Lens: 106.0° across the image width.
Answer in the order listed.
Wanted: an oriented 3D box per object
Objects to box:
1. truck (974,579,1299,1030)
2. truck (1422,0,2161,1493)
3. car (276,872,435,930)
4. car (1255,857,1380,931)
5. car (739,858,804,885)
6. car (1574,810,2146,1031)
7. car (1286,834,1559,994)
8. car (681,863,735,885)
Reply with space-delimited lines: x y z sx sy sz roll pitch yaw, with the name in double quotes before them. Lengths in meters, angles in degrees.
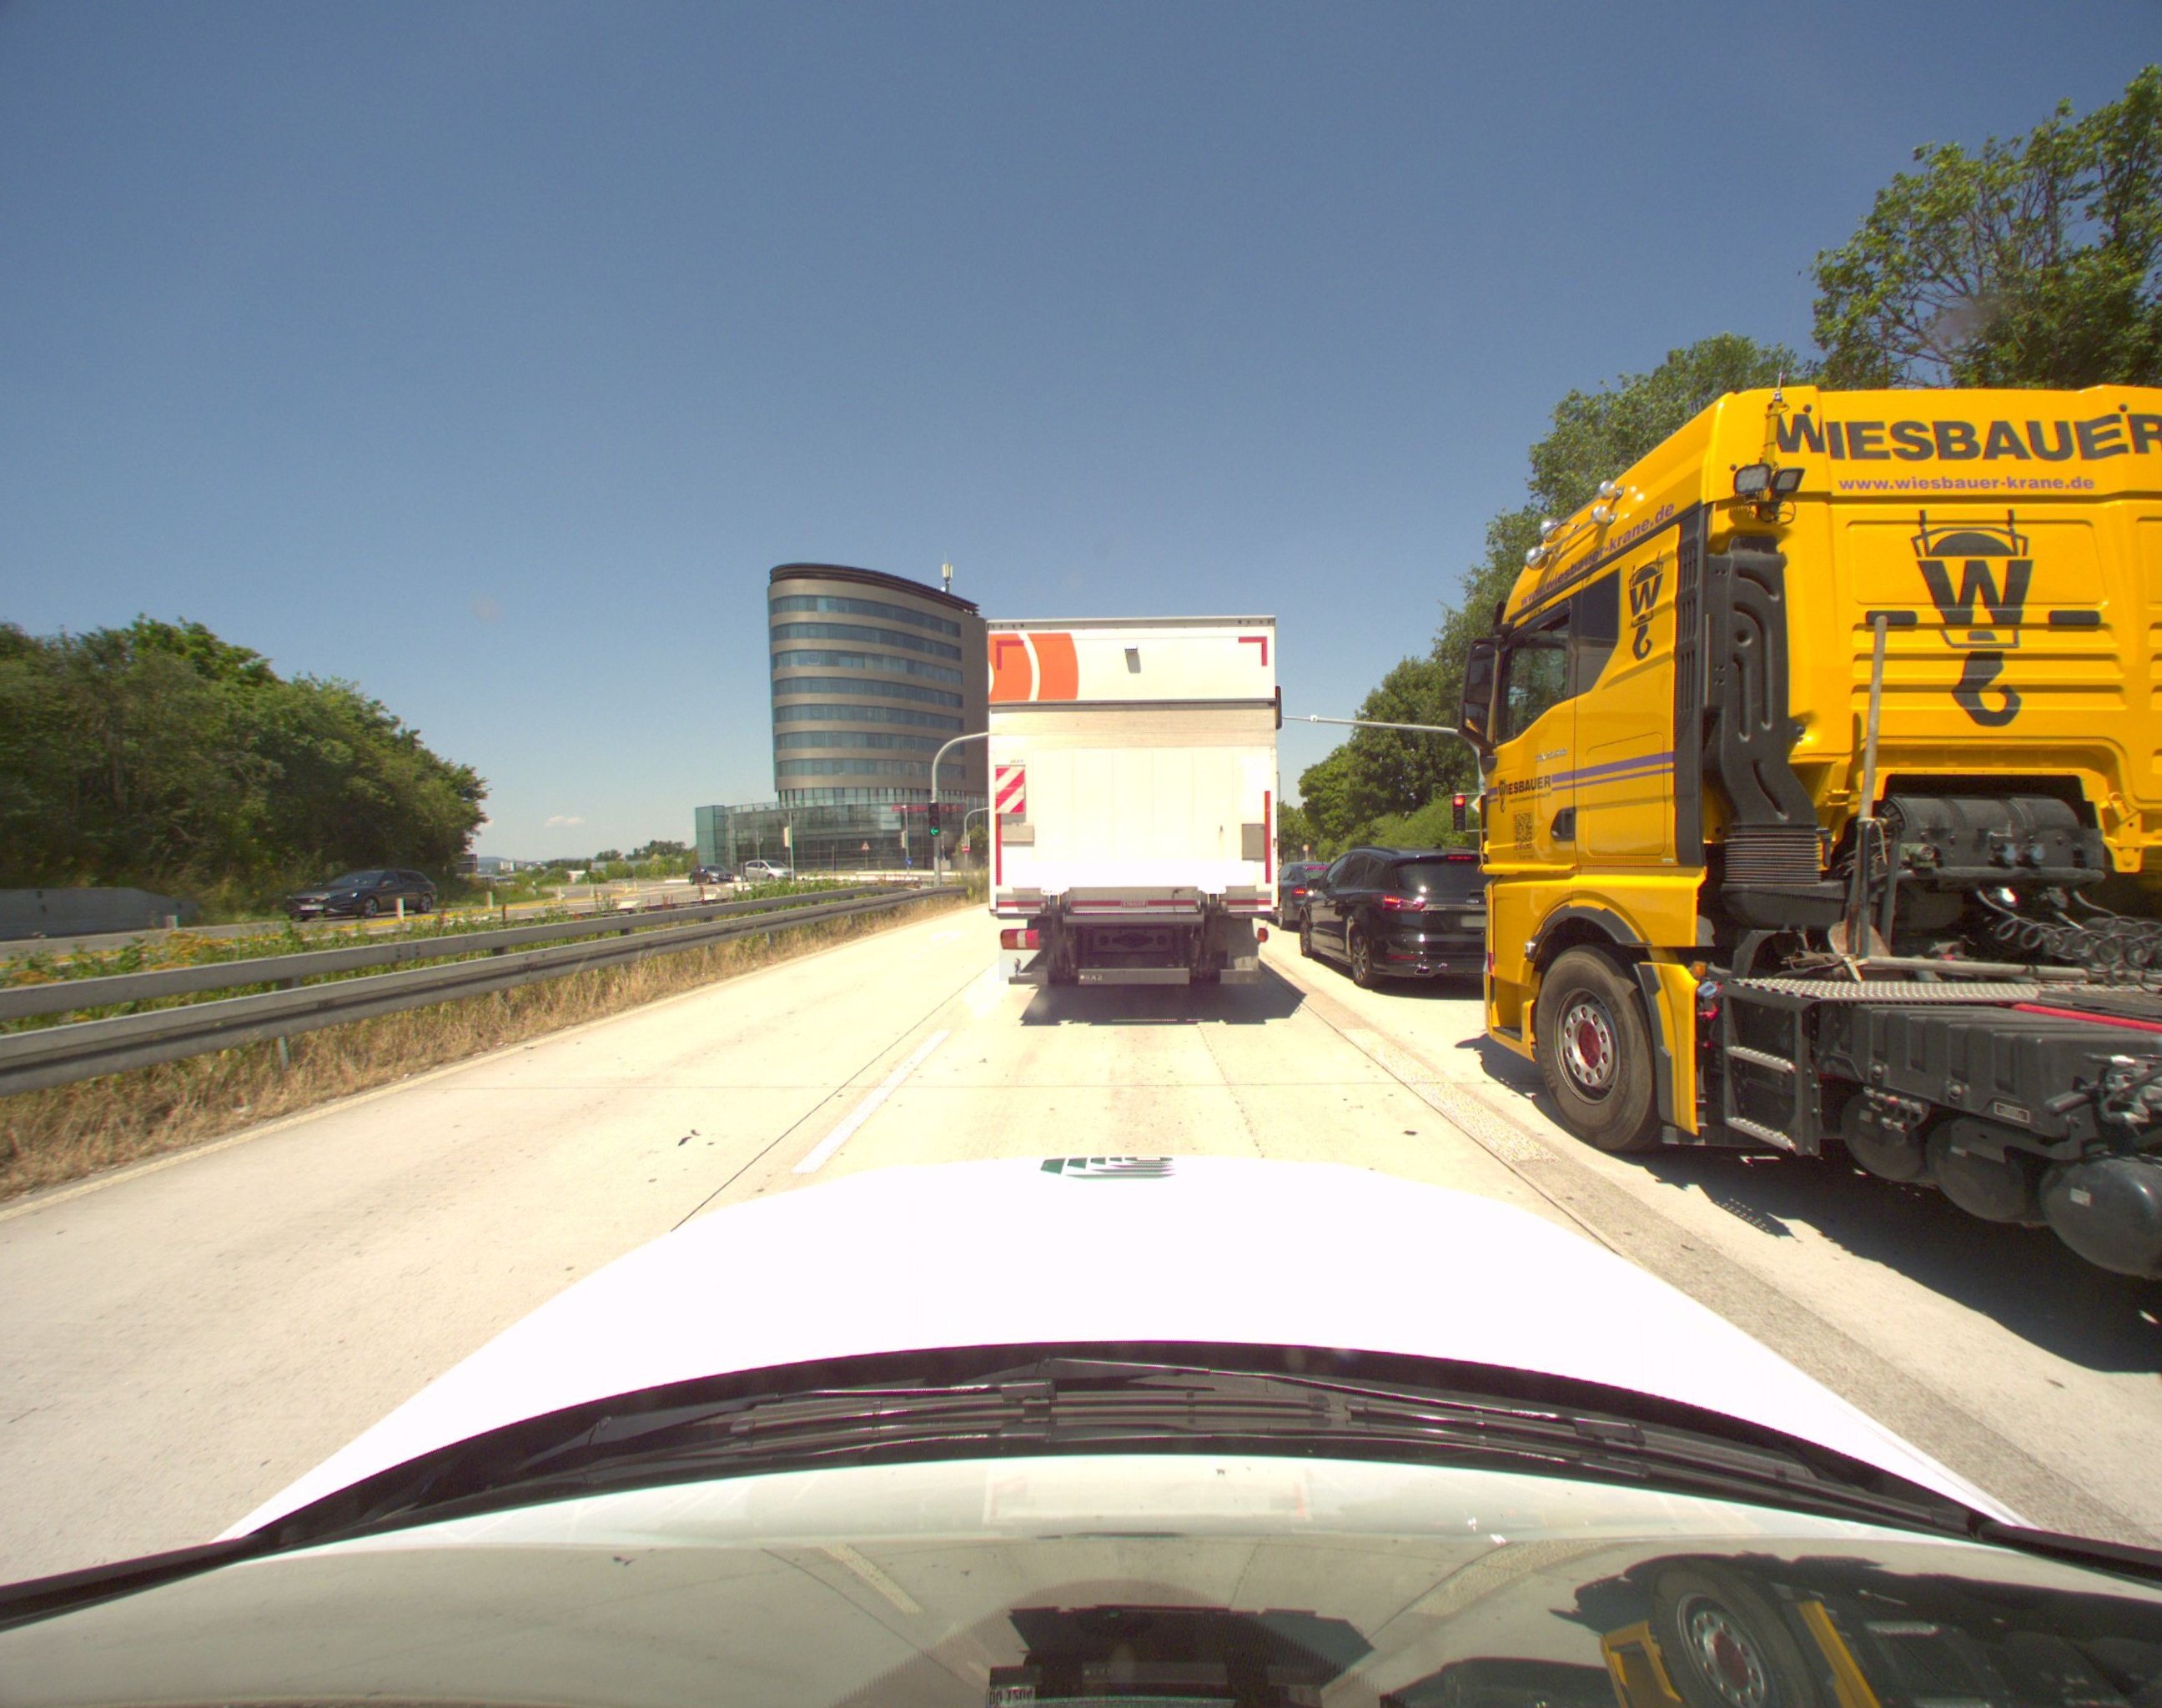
"truck" 0.678 -0.378 11.734 2.758 3.860 9.376 -1 -1 2
"truck" 3.913 -0.463 2.064 3.003 3.773 7.469 0 -1 0
"car" -21.061 1.291 23.890 1.715 1.485 4.271 0 -1 -15
"car" 5.030 0.796 17.945 1.759 1.410 4.615 0 -1 5
"car" -20.585 1.147 54.096 4.273 1.595 1.788 -3 -2 32
"car" 7.914 0.571 9.145 1.763 1.807 4.789 0 -1 -2
"car" 4.091 0.642 10.693 1.777 1.639 4.649 0 -1 2
"car" -26.884 1.445 58.678 4.273 1.456 1.708 -3 -2 37
